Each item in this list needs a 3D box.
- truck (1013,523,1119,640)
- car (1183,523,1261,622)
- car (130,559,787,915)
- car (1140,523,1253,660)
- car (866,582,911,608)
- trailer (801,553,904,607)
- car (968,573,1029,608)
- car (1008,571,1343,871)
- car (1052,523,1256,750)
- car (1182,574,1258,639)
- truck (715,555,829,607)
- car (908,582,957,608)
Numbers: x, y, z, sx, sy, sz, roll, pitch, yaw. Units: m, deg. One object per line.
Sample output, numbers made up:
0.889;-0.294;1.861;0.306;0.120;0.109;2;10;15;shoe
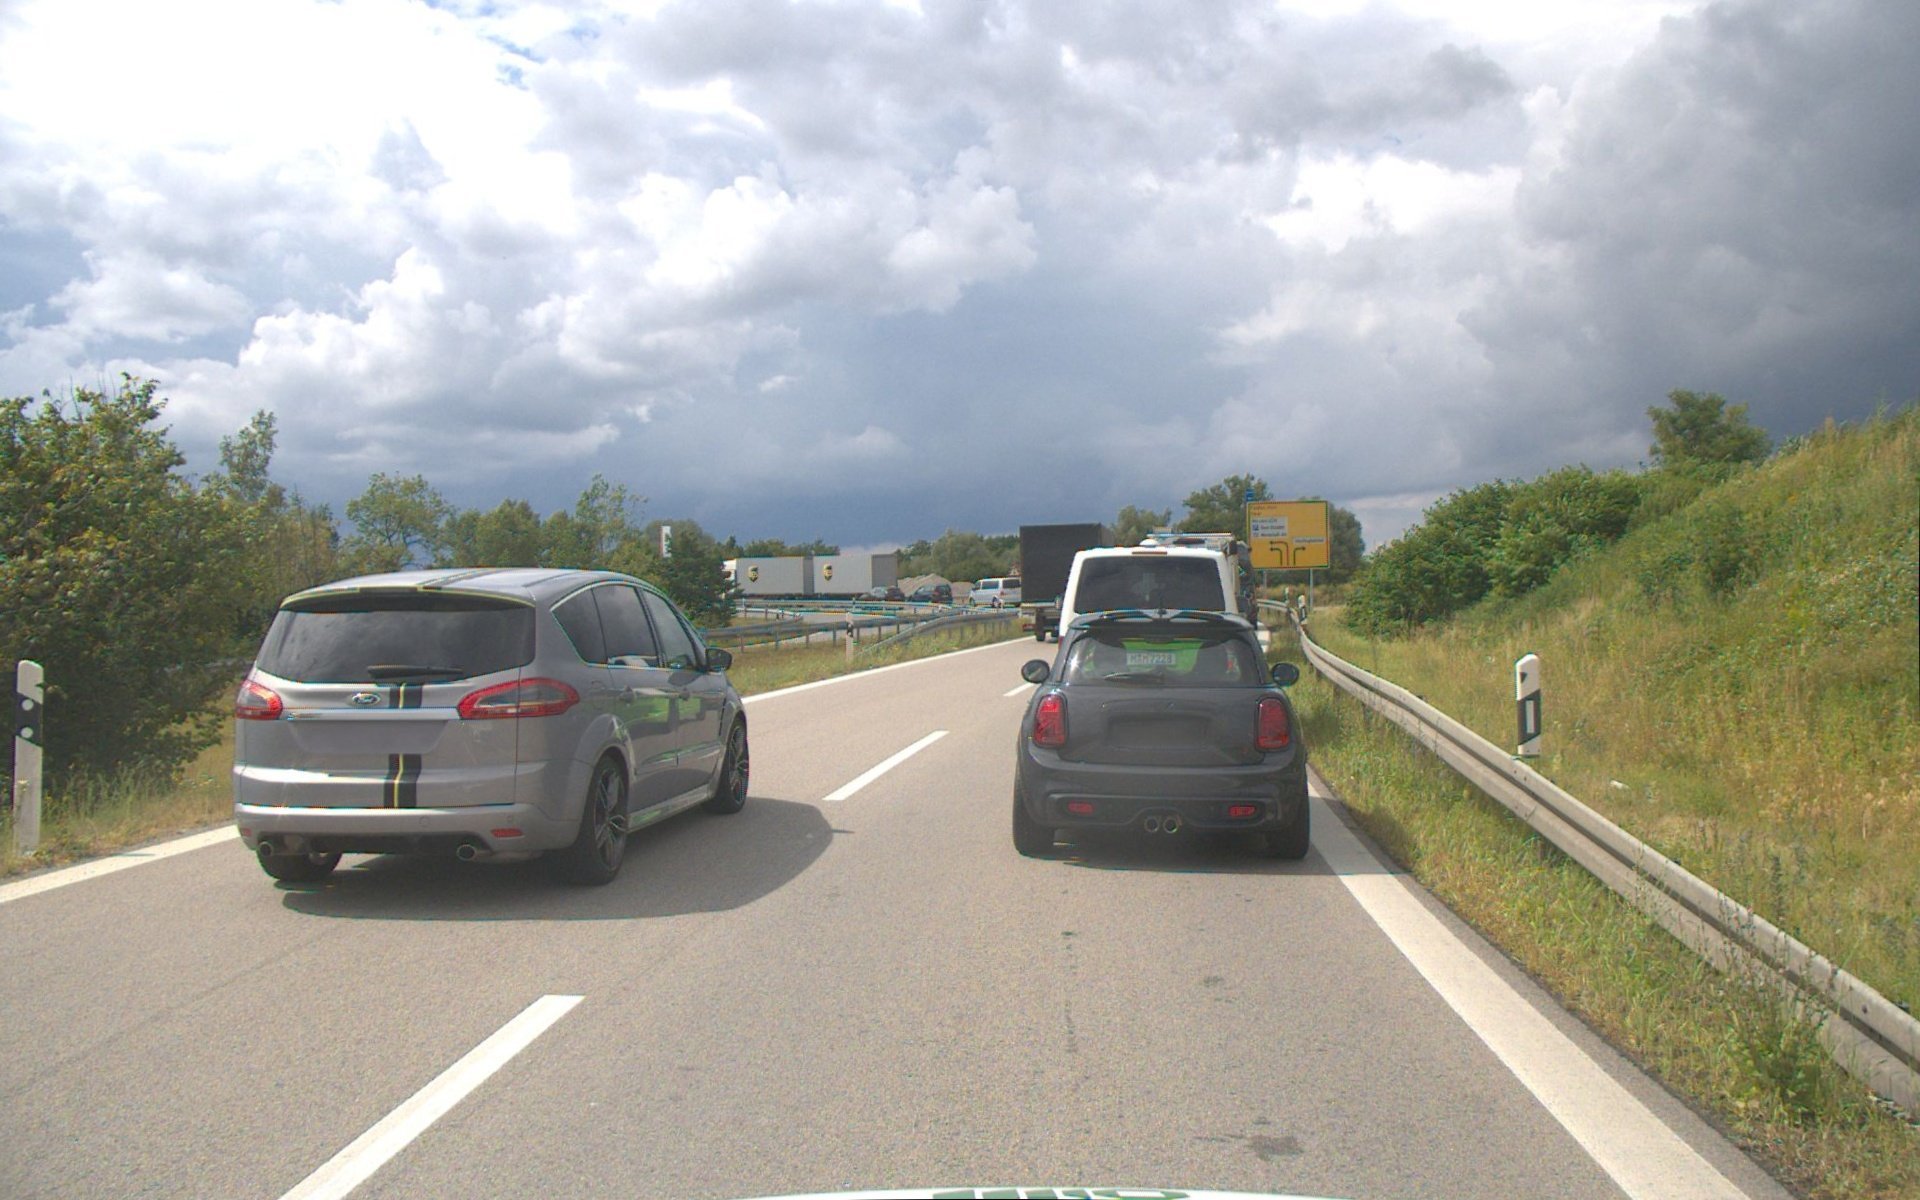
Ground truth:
3.303;-0.474;49.741;2.505;3.223;7.474;1;-1;8;truck
8.981;-0.851;56.256;2.261;3.122;6.667;1;-1;12;car
-2.573;0.656;9.875;1.978;1.605;4.590;-1;-1;8;car
5.066;-0.142;35.296;2.164;2.668;5.538;1;-1;9;car
-5.198;-0.325;119.446;1.791;1.786;3.966;1;-1;-26;car
-8.344;-1.506;127.312;3.024;3.966;8.627;2;-1;-45;trailer
2.611;-0.623;113.924;2.260;2.300;5.068;1;-1;-24;car
1.317;0.641;10.695;1.761;1.573;3.741;1;0;5;car
2.082;0.340;17.402;1.870;2.081;4.184;0;0;8;car
7.086;0.194;45.140;1.951;1.671;3.931;1;-1;9;car
-15.242;-1.537;133.339;9.832;4.046;2.834;0;-1;37;truck
-2.043;-0.340;121.464;1.898;1.870;4.280;1;-1;-27;car
